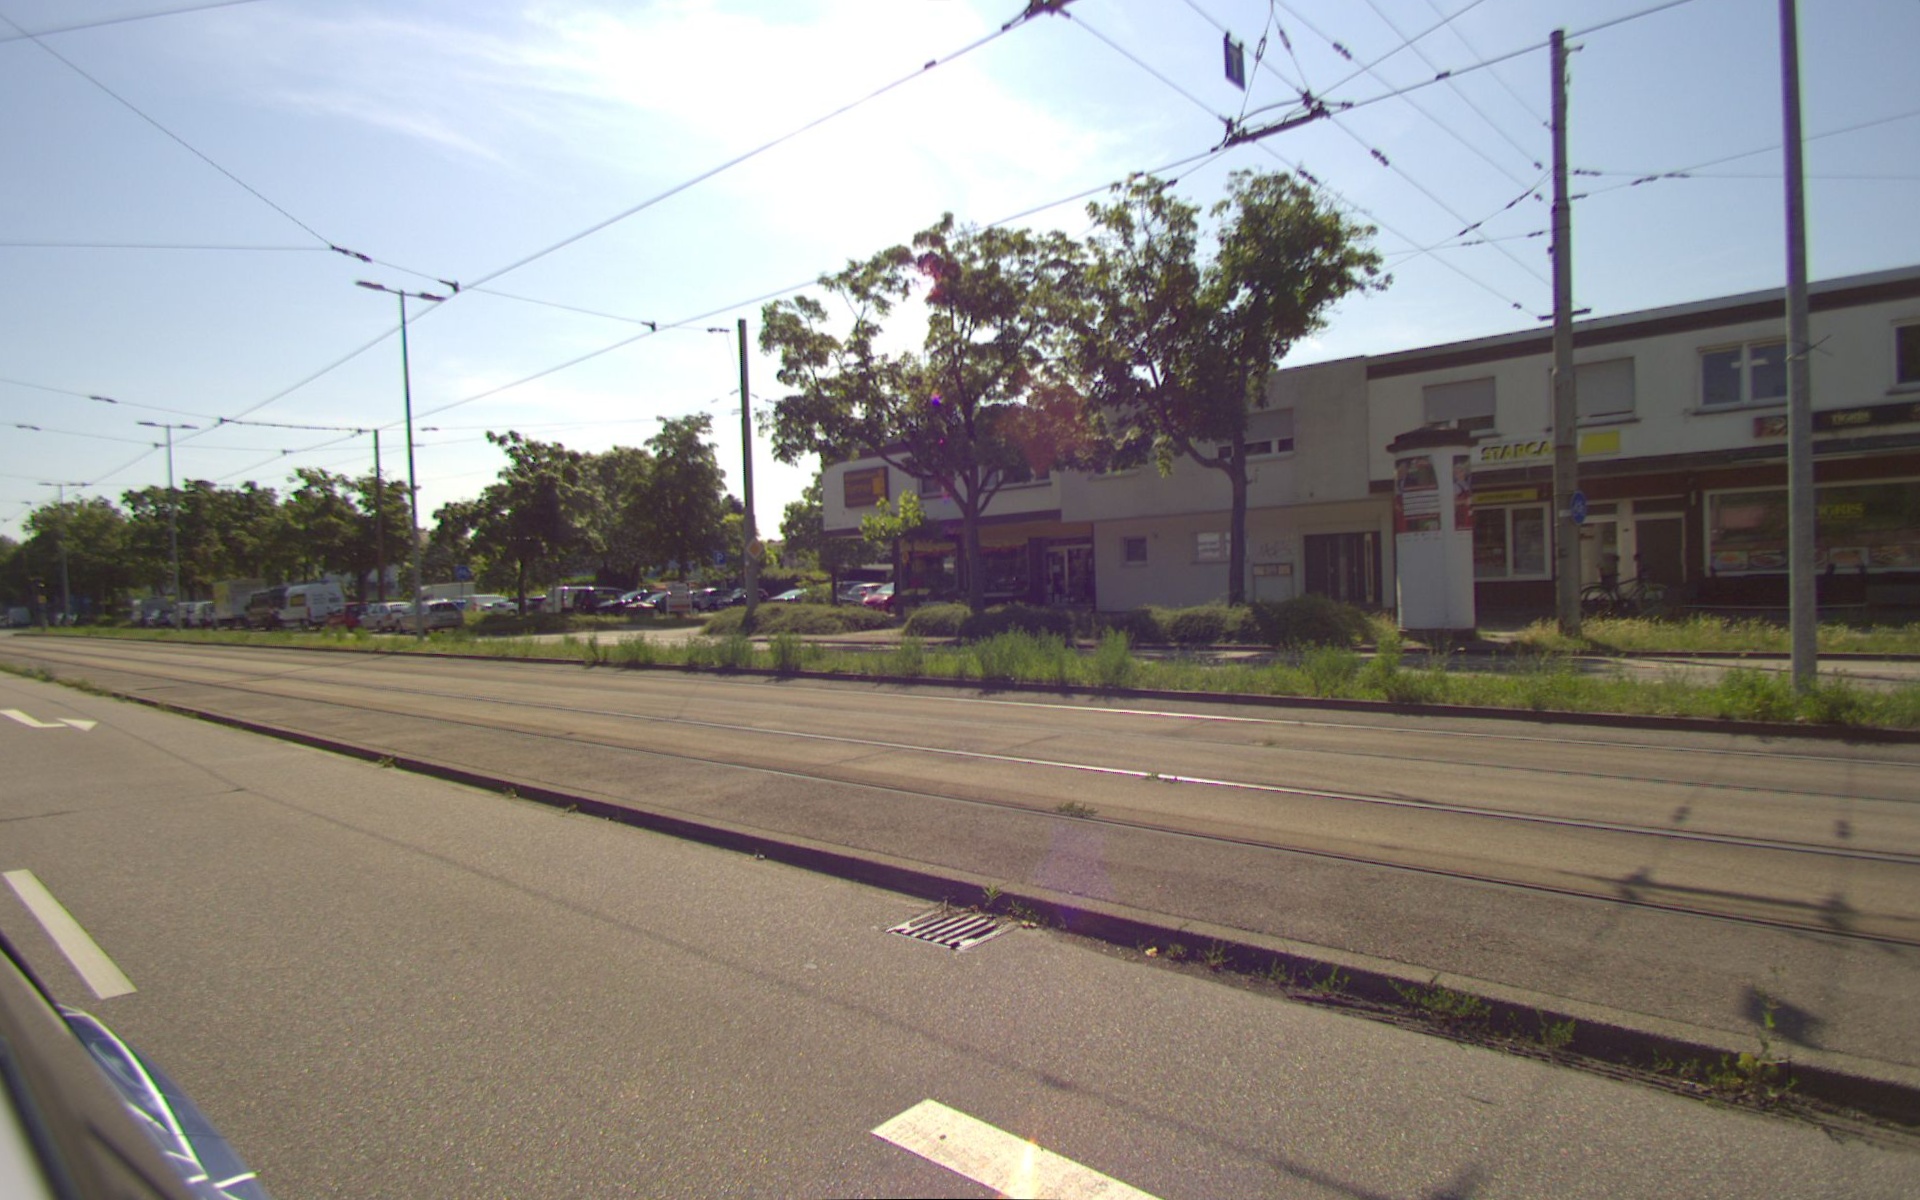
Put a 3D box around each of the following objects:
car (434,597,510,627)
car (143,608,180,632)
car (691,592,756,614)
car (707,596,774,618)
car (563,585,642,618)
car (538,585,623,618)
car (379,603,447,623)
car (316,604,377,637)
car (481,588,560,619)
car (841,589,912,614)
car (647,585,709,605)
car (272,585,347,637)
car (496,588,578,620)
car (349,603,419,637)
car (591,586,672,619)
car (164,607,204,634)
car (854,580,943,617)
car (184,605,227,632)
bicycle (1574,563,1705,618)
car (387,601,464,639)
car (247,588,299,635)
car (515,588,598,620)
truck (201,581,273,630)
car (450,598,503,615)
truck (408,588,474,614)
[{"bbox_3d":[-32.862,0.828,68.075,5.739,1.825,2.560,-1,1,42],"label":"car"},{"bbox_3d":[-63.963,1.592,81.031,3.685,1.799,1.484,-2,4,40],"label":"car"},{"bbox_3d":[-16.571,0.194,71.048,1.676,1.345,4.197,-1,1,42],"label":"car"},{"bbox_3d":[-14.965,0.450,69.151,1.676,1.345,4.197,-1,1,42],"label":"car"},{"bbox_3d":[-19.803,0.075,56.119,1.676,1.646,3.761,-1,1,42],"label":"car"},{"bbox_3d":[-21.631,0.082,57.838,1.988,1.751,4.068,-2,1,38],"label":"car"},{"bbox_3d":[-41.626,0.961,77.093,1.676,1.345,4.198,-1,1,41],"label":"car"},{"bbox_3d":[-32.731,1.085,53.947,3.791,1.544,1.654,-1,4,41],"label":"car"},{"bbox_3d":[-27.591,0.202,63.654,1.988,1.751,4.068,-2,1,38],"label":"car"},{"bbox_3d":[-5.024,0.069,61.269,1.676,1.345,4.197,-1,1,42],"label":"car"},{"bbox_3d":[-20.658,-0.384,74.309,1.674,1.345,4.201,-2,1,39],"label":"car"},{"bbox_3d":[-36.832,0.631,57.248,5.201,2.673,2.036,-1,4,41],"label":"car"},{"bbox_3d":[-25.472,0.207,60.996,1.988,1.751,4.068,-2,1,38],"label":"car"},{"bbox_3d":[-28.842,1.003,50.657,4.255,1.544,1.654,-1,4,41],"label":"car"},{"bbox_3d":[-17.533,0.125,54.082,1.676,1.646,3.761,-1,1,42],"label":"car"},{"bbox_3d":[-59.333,1.562,77.400,4.056,1.859,1.484,-2,4,40],"label":"car"},{"bbox_3d":[-2.842,-0.085,47.603,1.676,1.616,4.197,-1,1,42],"label":"car"},{"bbox_3d":[-54.257,1.332,72.744,4.631,1.817,1.483,-1,4,41],"label":"car"},{"bbox_3d":[15.106,-0.198,22.533,2.333,1.161,0.779,-1,-1,42],"label":"bicycle"},{"bbox_3d":[-24.845,0.926,46.982,4.255,1.544,1.654,-1,4,41],"label":"car"},{"bbox_3d":[-41.593,0.724,61.219,4.005,2.643,1.483,-1,4,41],"label":"car"},{"bbox_3d":[-23.605,0.224,59.321,1.988,1.751,4.068,-2,1,38],"label":"car"},{"bbox_3d":[-47.974,0.383,67.080,5.902,2.956,2.476,-1,4,42],"label":"truck"},{"bbox_3d":[-45.491,0.598,95.296,1.676,1.345,4.198,-1,1,41],"label":"car"},{"bbox_3d":[-52.624,0.064,102.630,1.988,2.398,5.584,-2,1,38],"label":"truck"}]
